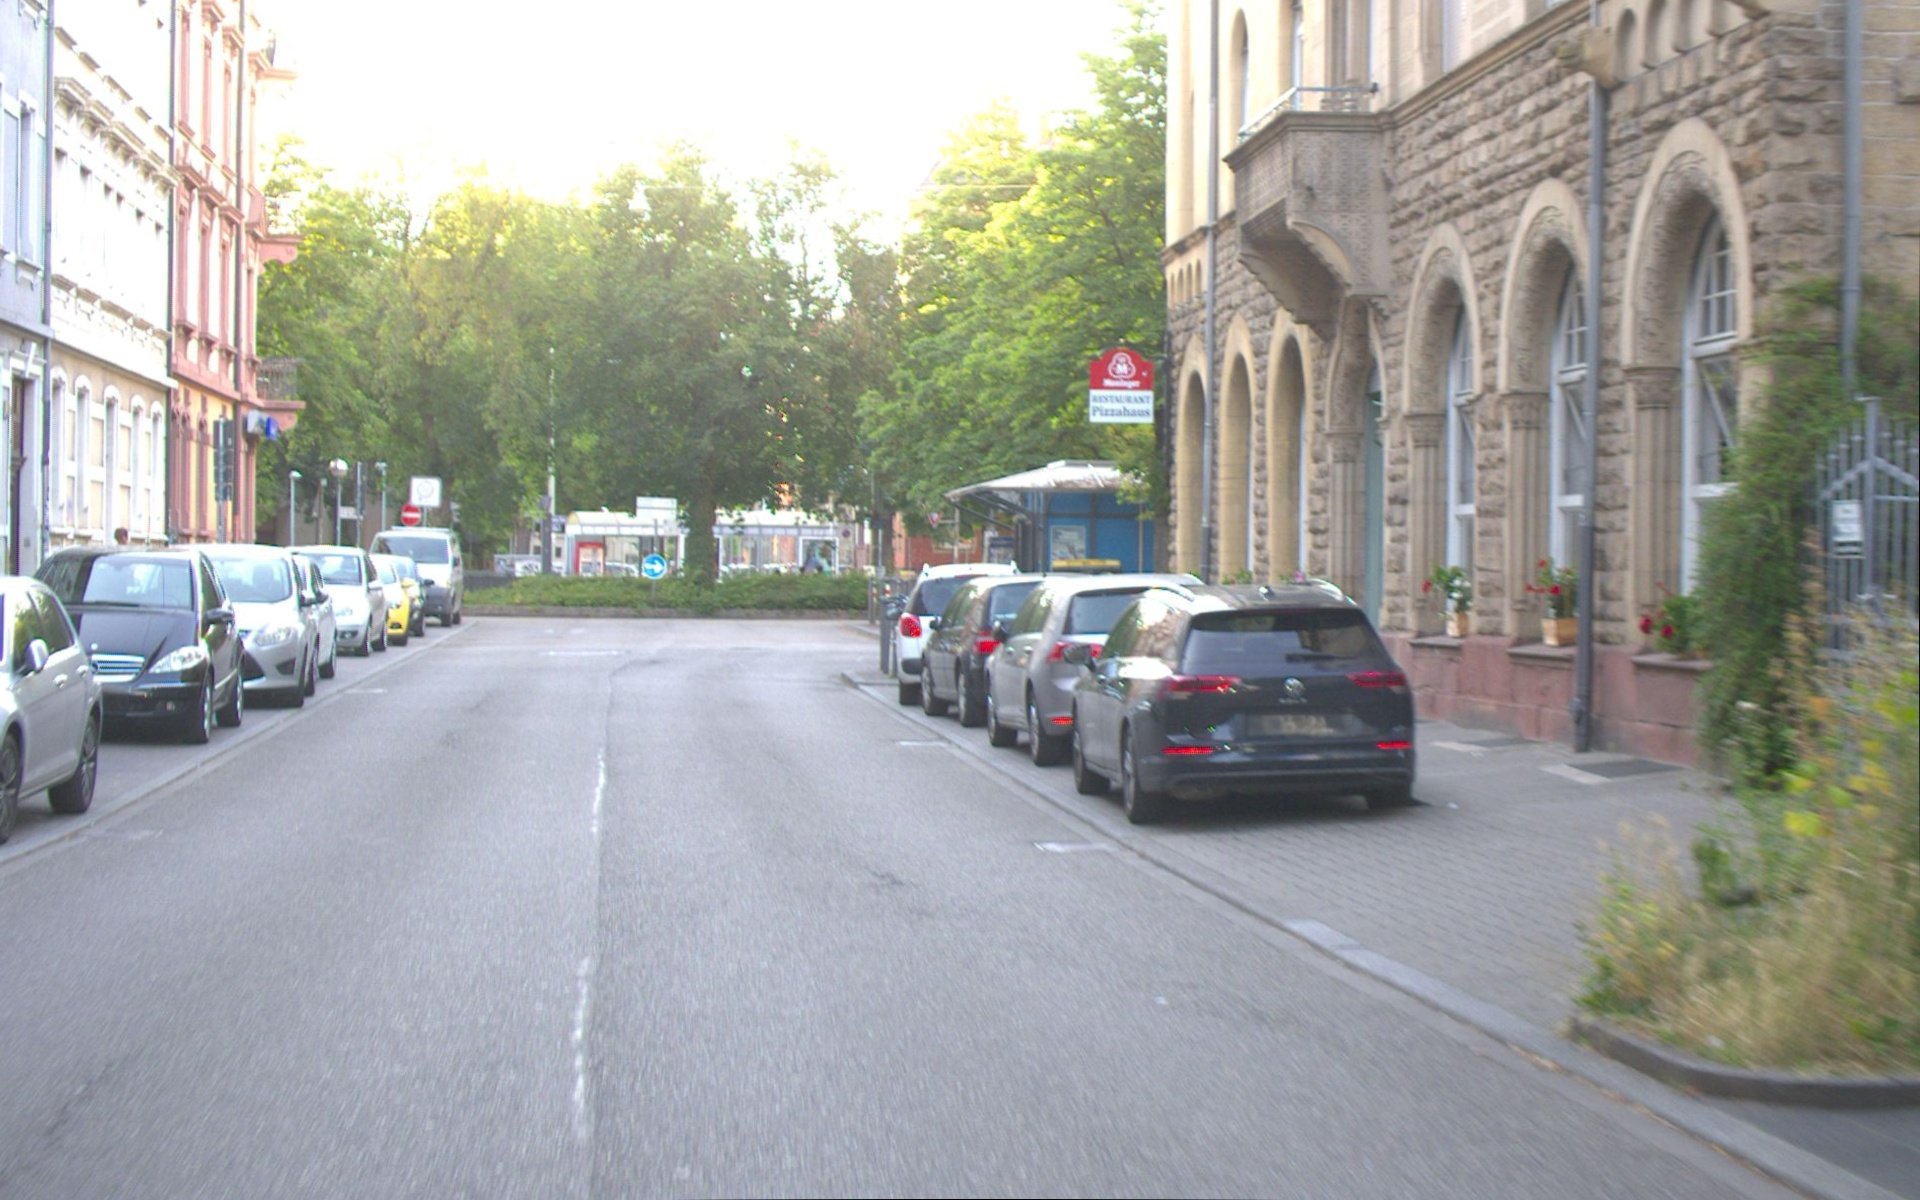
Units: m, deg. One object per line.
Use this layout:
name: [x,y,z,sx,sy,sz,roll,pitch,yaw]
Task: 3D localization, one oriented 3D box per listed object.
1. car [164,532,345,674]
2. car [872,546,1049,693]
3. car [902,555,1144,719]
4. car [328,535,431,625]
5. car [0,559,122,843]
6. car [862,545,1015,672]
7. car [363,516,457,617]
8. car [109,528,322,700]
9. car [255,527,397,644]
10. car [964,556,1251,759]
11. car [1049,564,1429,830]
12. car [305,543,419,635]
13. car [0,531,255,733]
car: [-8.320,0.014,40.778,1.698,1.547,3.570,2,0,-6]
car: [-0.038,0.179,38.808,1.676,1.496,3.901,-2,1,-4]
car: [0.562,0.317,33.813,1.676,1.451,3.801,-2,1,-9]
car: [-10.681,-0.381,63.441,1.698,1.547,4.023,2,1,-8]
car: [-6.085,0.484,19.665,1.834,1.453,4.207,3,0,-5]
car: [-0.322,0.073,44.673,1.676,1.496,4.018,-2,1,-4]
car: [-11.484,-0.701,71.662,1.810,1.970,4.188,2,0,-10]
car: [-7.574,0.107,35.297,1.844,1.653,4.254,0,1,-8]
car: [-9.418,-0.234,51.318,1.698,1.615,4.023,2,0,-6]
car: [1.127,0.408,28.221,1.676,1.451,4.231,-2,1,-6]
car: [1.686,0.538,22.257,1.676,1.424,4.479,-3,1,-5]
car: [-9.978,-0.204,57.553,1.698,1.421,4.023,2,1,-8]
car: [-7.007,0.226,29.141,1.635,1.560,3.782,2,1,-6]
